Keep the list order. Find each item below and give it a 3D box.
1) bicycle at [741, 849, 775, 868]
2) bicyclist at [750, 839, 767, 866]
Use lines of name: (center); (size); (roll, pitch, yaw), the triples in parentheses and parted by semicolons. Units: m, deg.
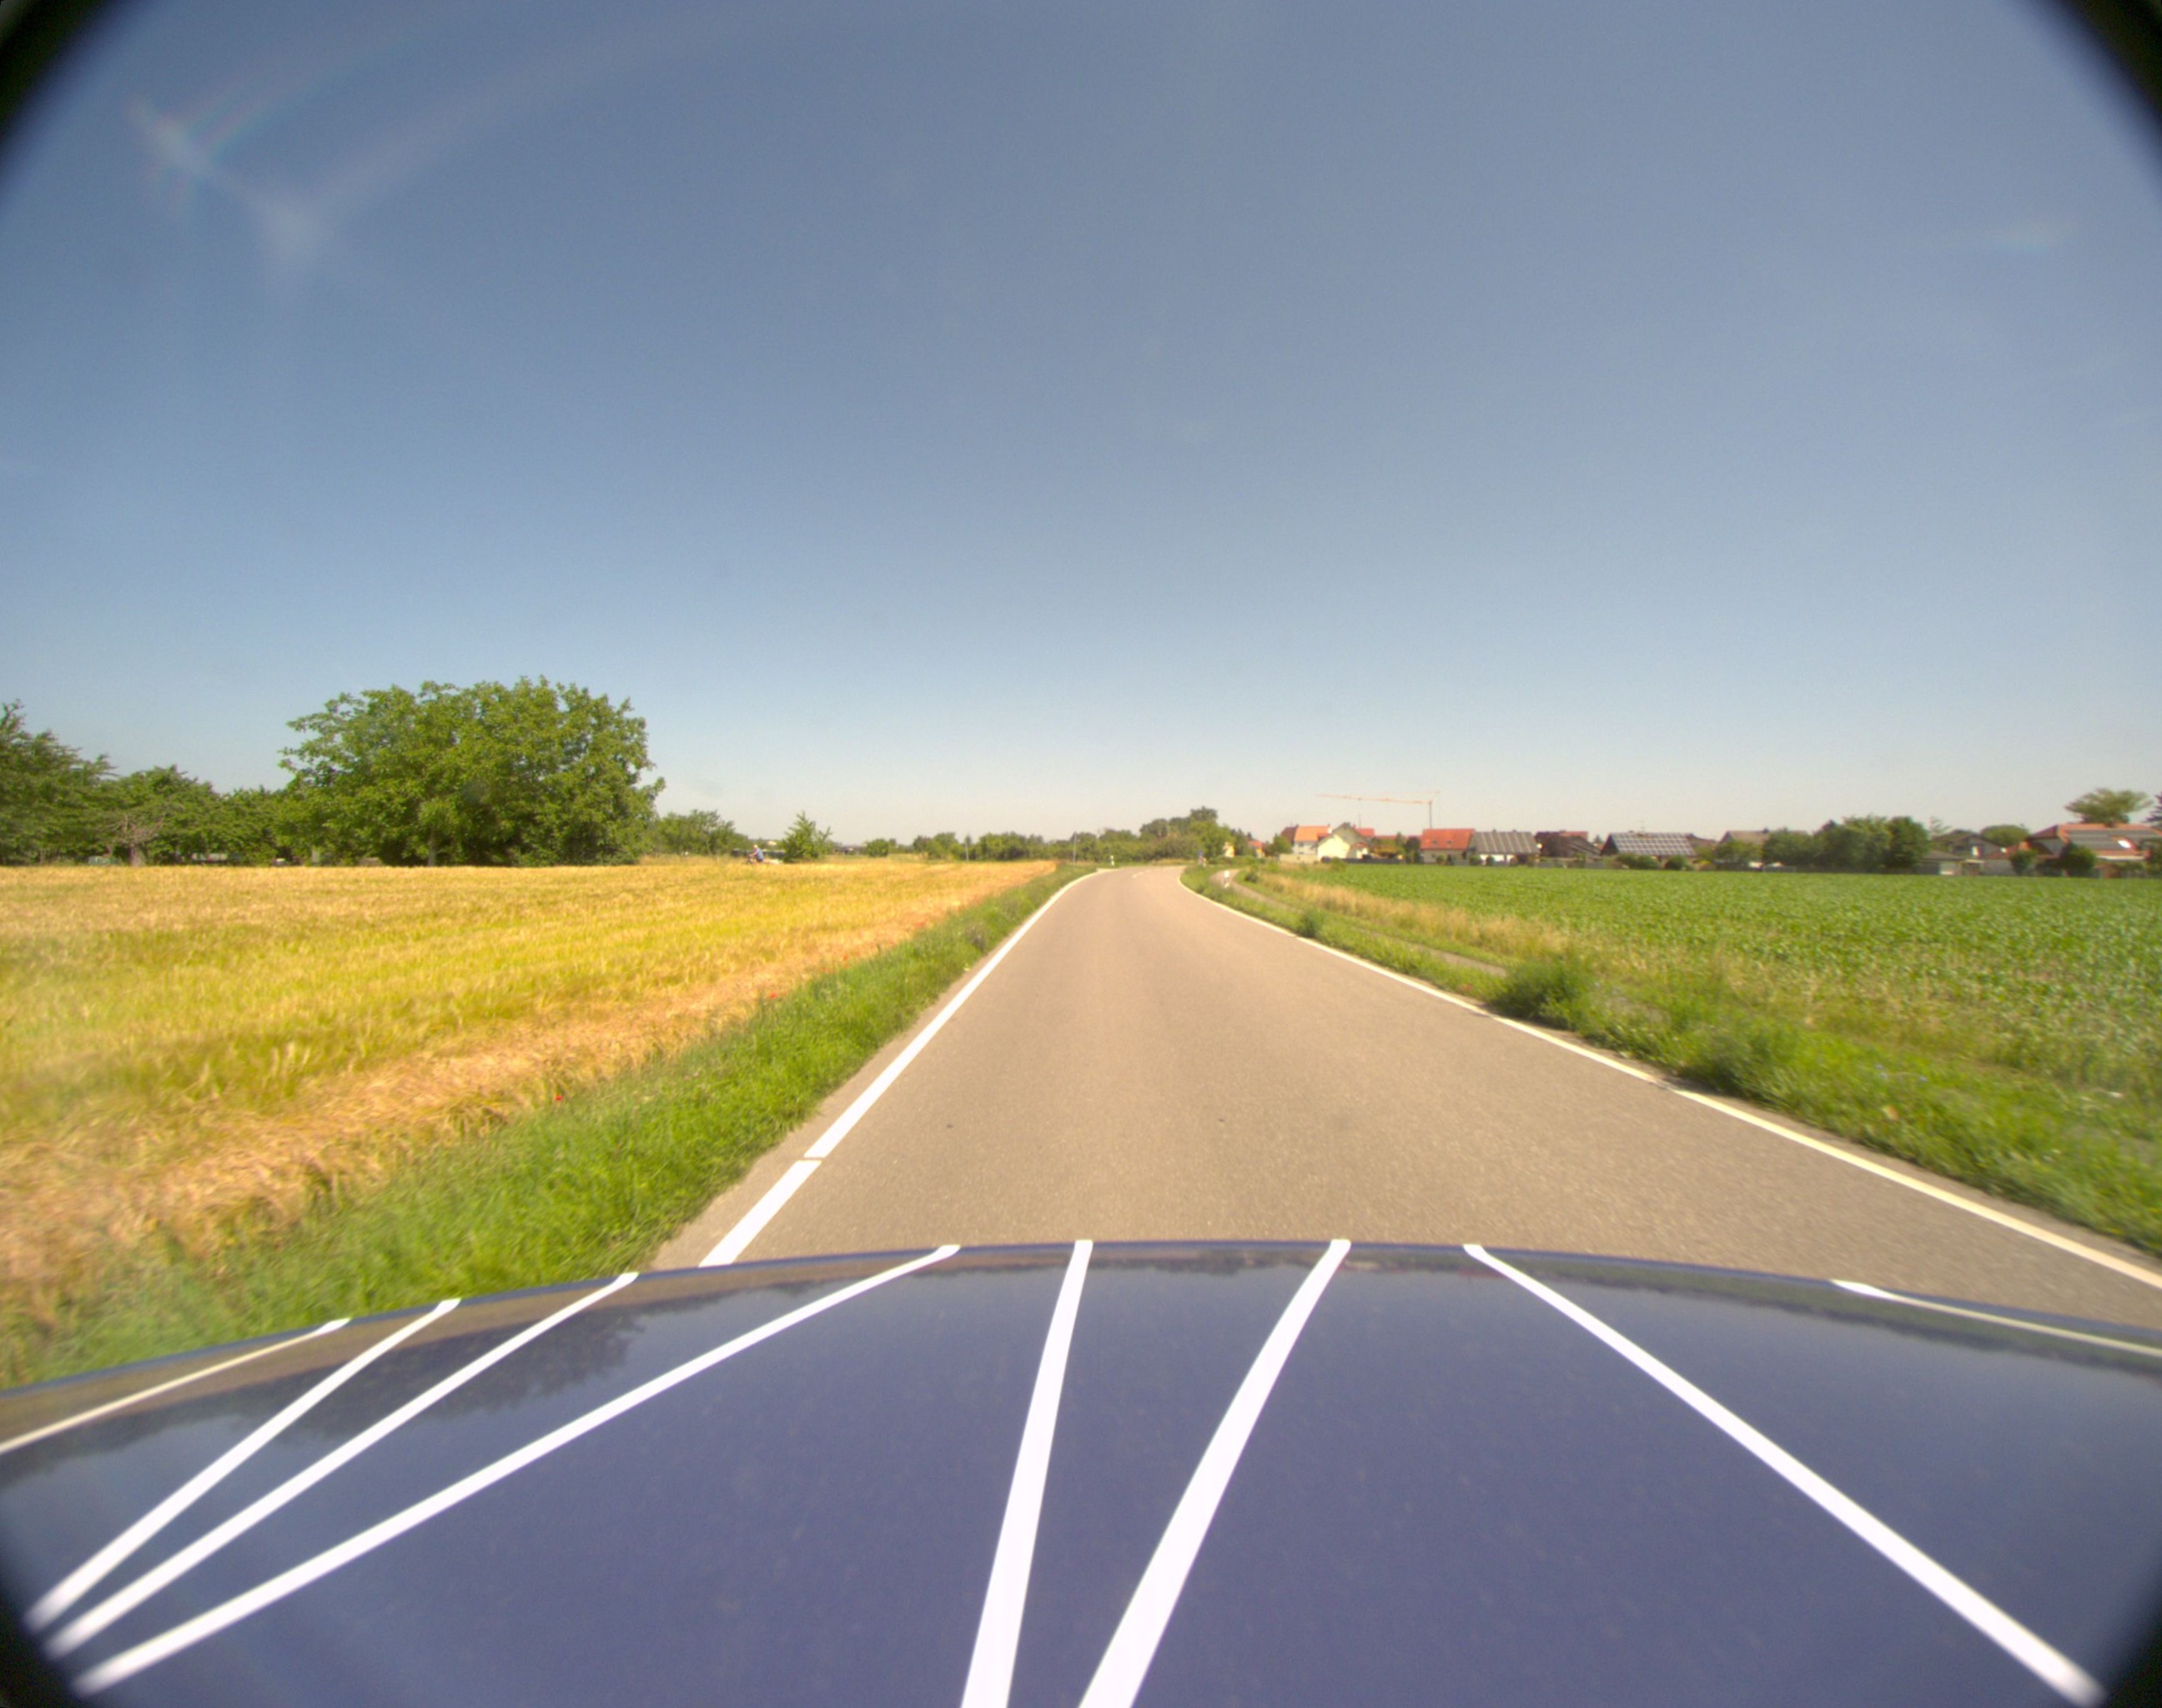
bicycle: (-18.826, 0.260, 44.322); (1.773, 1.109, 0.520); (0, 1, -37)
bicyclist: (-18.821, -0.091, 44.316); (0.737, 1.565, 0.673); (0, 1, -37)
